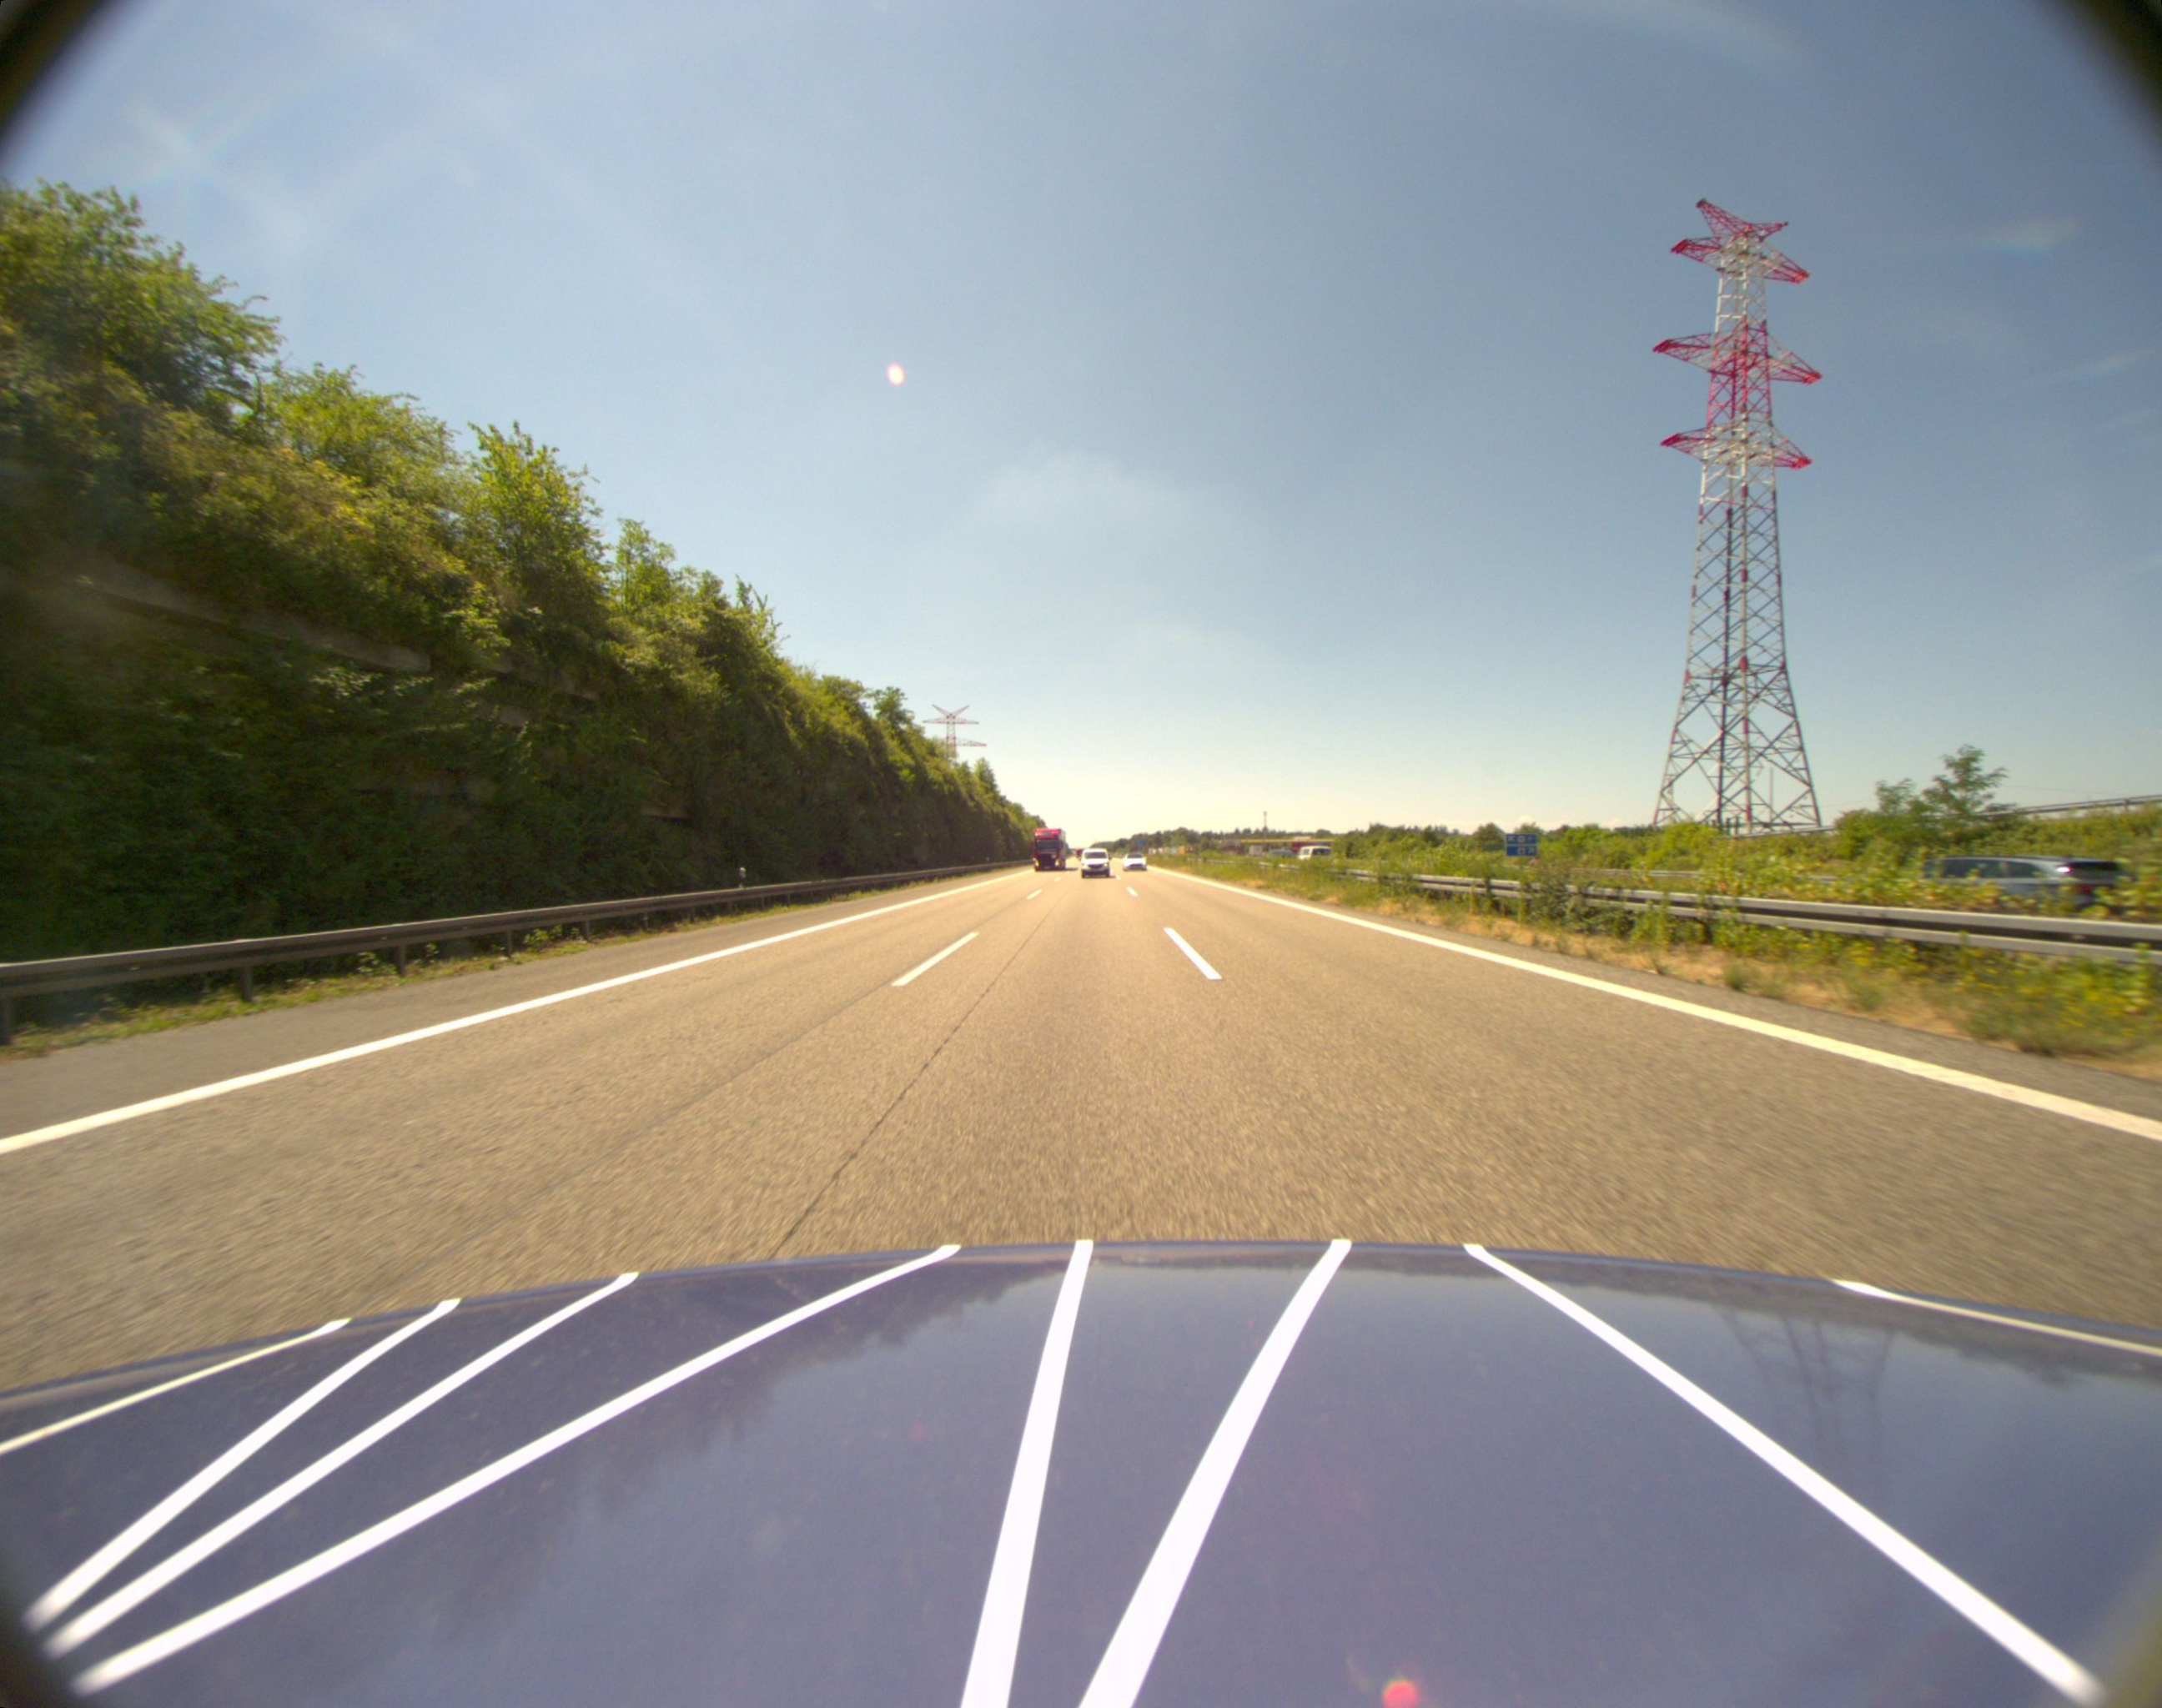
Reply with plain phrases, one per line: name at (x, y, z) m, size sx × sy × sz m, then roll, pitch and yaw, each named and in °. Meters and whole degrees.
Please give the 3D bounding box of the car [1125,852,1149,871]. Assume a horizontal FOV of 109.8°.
car at (4.605, 0.624, 62.911) m, size 1.775 × 1.410 × 3.401 m, roll -3°, pitch 0°, yaw 1°

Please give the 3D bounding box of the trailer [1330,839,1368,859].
trailer at (63.770, -1.135, 180.586) m, size 11.083 × 4.241 × 3.158 m, roll -3°, pitch 1°, yaw -40°

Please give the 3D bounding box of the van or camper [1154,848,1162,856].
van or camper at (25.944, -0.699, 255.305) m, size 2.064 × 2.510 × 6.389 m, roll -3°, pitch 0°, yaw 1°

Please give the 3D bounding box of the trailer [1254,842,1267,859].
trailer at (52.619, -1.158, 222.694) m, size 3.306 × 4.846 × 9.693 m, roll -2°, pitch 0°, yaw 16°

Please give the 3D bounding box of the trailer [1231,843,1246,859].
trailer at (48.100, -0.982, 232.303) m, size 3.040 × 4.822 × 9.134 m, roll -3°, pitch 0°, yaw 2°

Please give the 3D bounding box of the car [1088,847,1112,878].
car at (1.167, 0.510, 48.096) m, size 1.413 × 1.795 × 3.200 m, roll -3°, pitch 0°, yaw 0°

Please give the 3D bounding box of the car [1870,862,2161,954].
car at (17.041, 0.894, 13.993) m, size 1.554 × 1.421 × 3.326 m, roll 0°, pitch 0°, yaw 1°

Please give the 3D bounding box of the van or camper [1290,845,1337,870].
van or camper at (18.281, 0.238, 59.931) m, size 2.131 × 1.845 × 5.311 m, roll 1°, pitch 0°, yaw 1°

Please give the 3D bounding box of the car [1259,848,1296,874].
car at (13.674, 0.449, 53.007) m, size 1.634 × 1.653 × 3.727 m, roll -3°, pitch 0°, yaw 1°

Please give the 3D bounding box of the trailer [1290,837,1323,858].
trailer at (47.834, -1.480, 161.038) m, size 3.123 × 4.032 × 11.334 m, roll -2°, pitch 0°, yaw 35°

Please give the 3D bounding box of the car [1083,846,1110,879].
car at (0.884, 0.475, 44.776) m, size 1.501 × 1.799 × 3.394 m, roll -3°, pitch 0°, yaw 0°

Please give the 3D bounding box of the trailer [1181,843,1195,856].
trailer at (34.927, -1.519, 249.374) m, size 2.840 × 4.195 × 11.082 m, roll -3°, pitch 0°, yaw 0°

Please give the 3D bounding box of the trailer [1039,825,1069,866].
trailer at (-2.695, -0.830, 80.607) m, size 2.496 × 3.887 × 14.245 m, roll -2°, pitch 0°, yaw 0°

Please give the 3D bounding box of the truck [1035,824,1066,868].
truck at (-2.832, -0.736, 72.344) m, size 2.505 × 3.897 × 7.096 m, roll -2°, pitch 0°, yaw 0°
